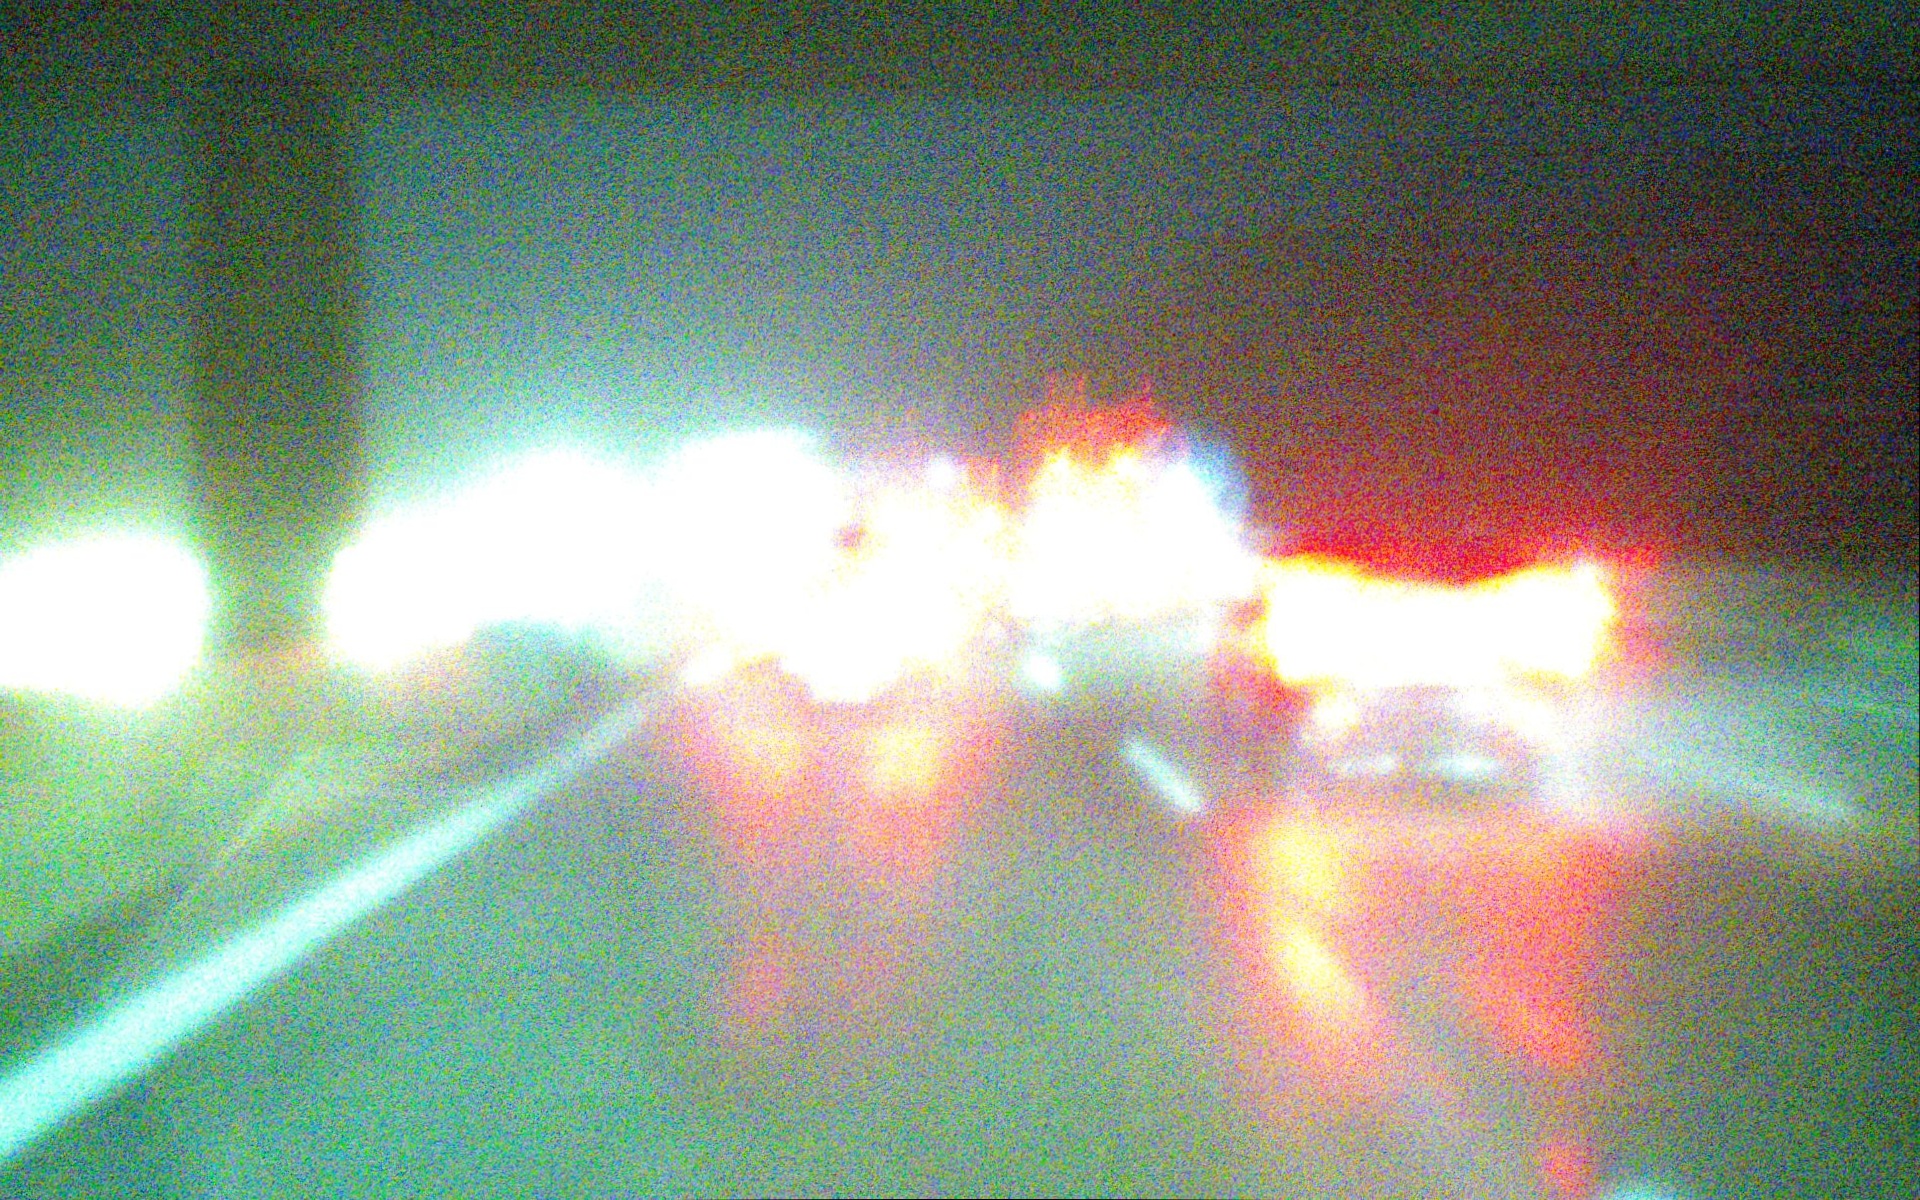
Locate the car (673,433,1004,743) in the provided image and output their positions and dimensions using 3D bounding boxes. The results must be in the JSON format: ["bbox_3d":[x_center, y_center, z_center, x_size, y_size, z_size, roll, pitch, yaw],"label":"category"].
[{"bbox_3d":[-1.187,-0.175,31.972,2.709,2.525,5.832,-2,2,-3],"label":"car"}]

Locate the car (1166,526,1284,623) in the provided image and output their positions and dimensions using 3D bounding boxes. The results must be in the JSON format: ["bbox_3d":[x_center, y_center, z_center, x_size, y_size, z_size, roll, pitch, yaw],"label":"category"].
[{"bbox_3d":[5.816,-0.605,76.023,2.046,1.967,5.407,-2,2,-1],"label":"car"}]

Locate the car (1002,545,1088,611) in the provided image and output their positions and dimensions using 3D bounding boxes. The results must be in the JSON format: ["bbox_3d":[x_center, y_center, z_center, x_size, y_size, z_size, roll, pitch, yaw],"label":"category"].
[{"bbox_3d":[1.849,-0.503,75.652,1.612,1.407,3.792,0,1,-3],"label":"car"}]

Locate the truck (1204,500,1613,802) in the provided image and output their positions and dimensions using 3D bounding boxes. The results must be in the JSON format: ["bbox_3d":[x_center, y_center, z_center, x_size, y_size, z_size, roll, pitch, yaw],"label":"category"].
[{"bbox_3d":[2.730,0.262,22.012,1.843,1.690,4.855,1,1,-1],"label":"truck"}]

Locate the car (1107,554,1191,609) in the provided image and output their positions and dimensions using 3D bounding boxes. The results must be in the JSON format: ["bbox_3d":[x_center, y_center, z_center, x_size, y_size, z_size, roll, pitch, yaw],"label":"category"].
[{"bbox_3d":[5.431,-0.555,99.273,1.894,1.481,4.963,1,1,-3],"label":"car"}]

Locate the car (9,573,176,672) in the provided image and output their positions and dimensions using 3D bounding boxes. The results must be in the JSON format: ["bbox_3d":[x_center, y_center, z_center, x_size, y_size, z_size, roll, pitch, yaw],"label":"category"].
[{"bbox_3d":[-14.286,0.338,56.824,1.784,1.521,4.381,1,1,-2],"label":"car"}]
